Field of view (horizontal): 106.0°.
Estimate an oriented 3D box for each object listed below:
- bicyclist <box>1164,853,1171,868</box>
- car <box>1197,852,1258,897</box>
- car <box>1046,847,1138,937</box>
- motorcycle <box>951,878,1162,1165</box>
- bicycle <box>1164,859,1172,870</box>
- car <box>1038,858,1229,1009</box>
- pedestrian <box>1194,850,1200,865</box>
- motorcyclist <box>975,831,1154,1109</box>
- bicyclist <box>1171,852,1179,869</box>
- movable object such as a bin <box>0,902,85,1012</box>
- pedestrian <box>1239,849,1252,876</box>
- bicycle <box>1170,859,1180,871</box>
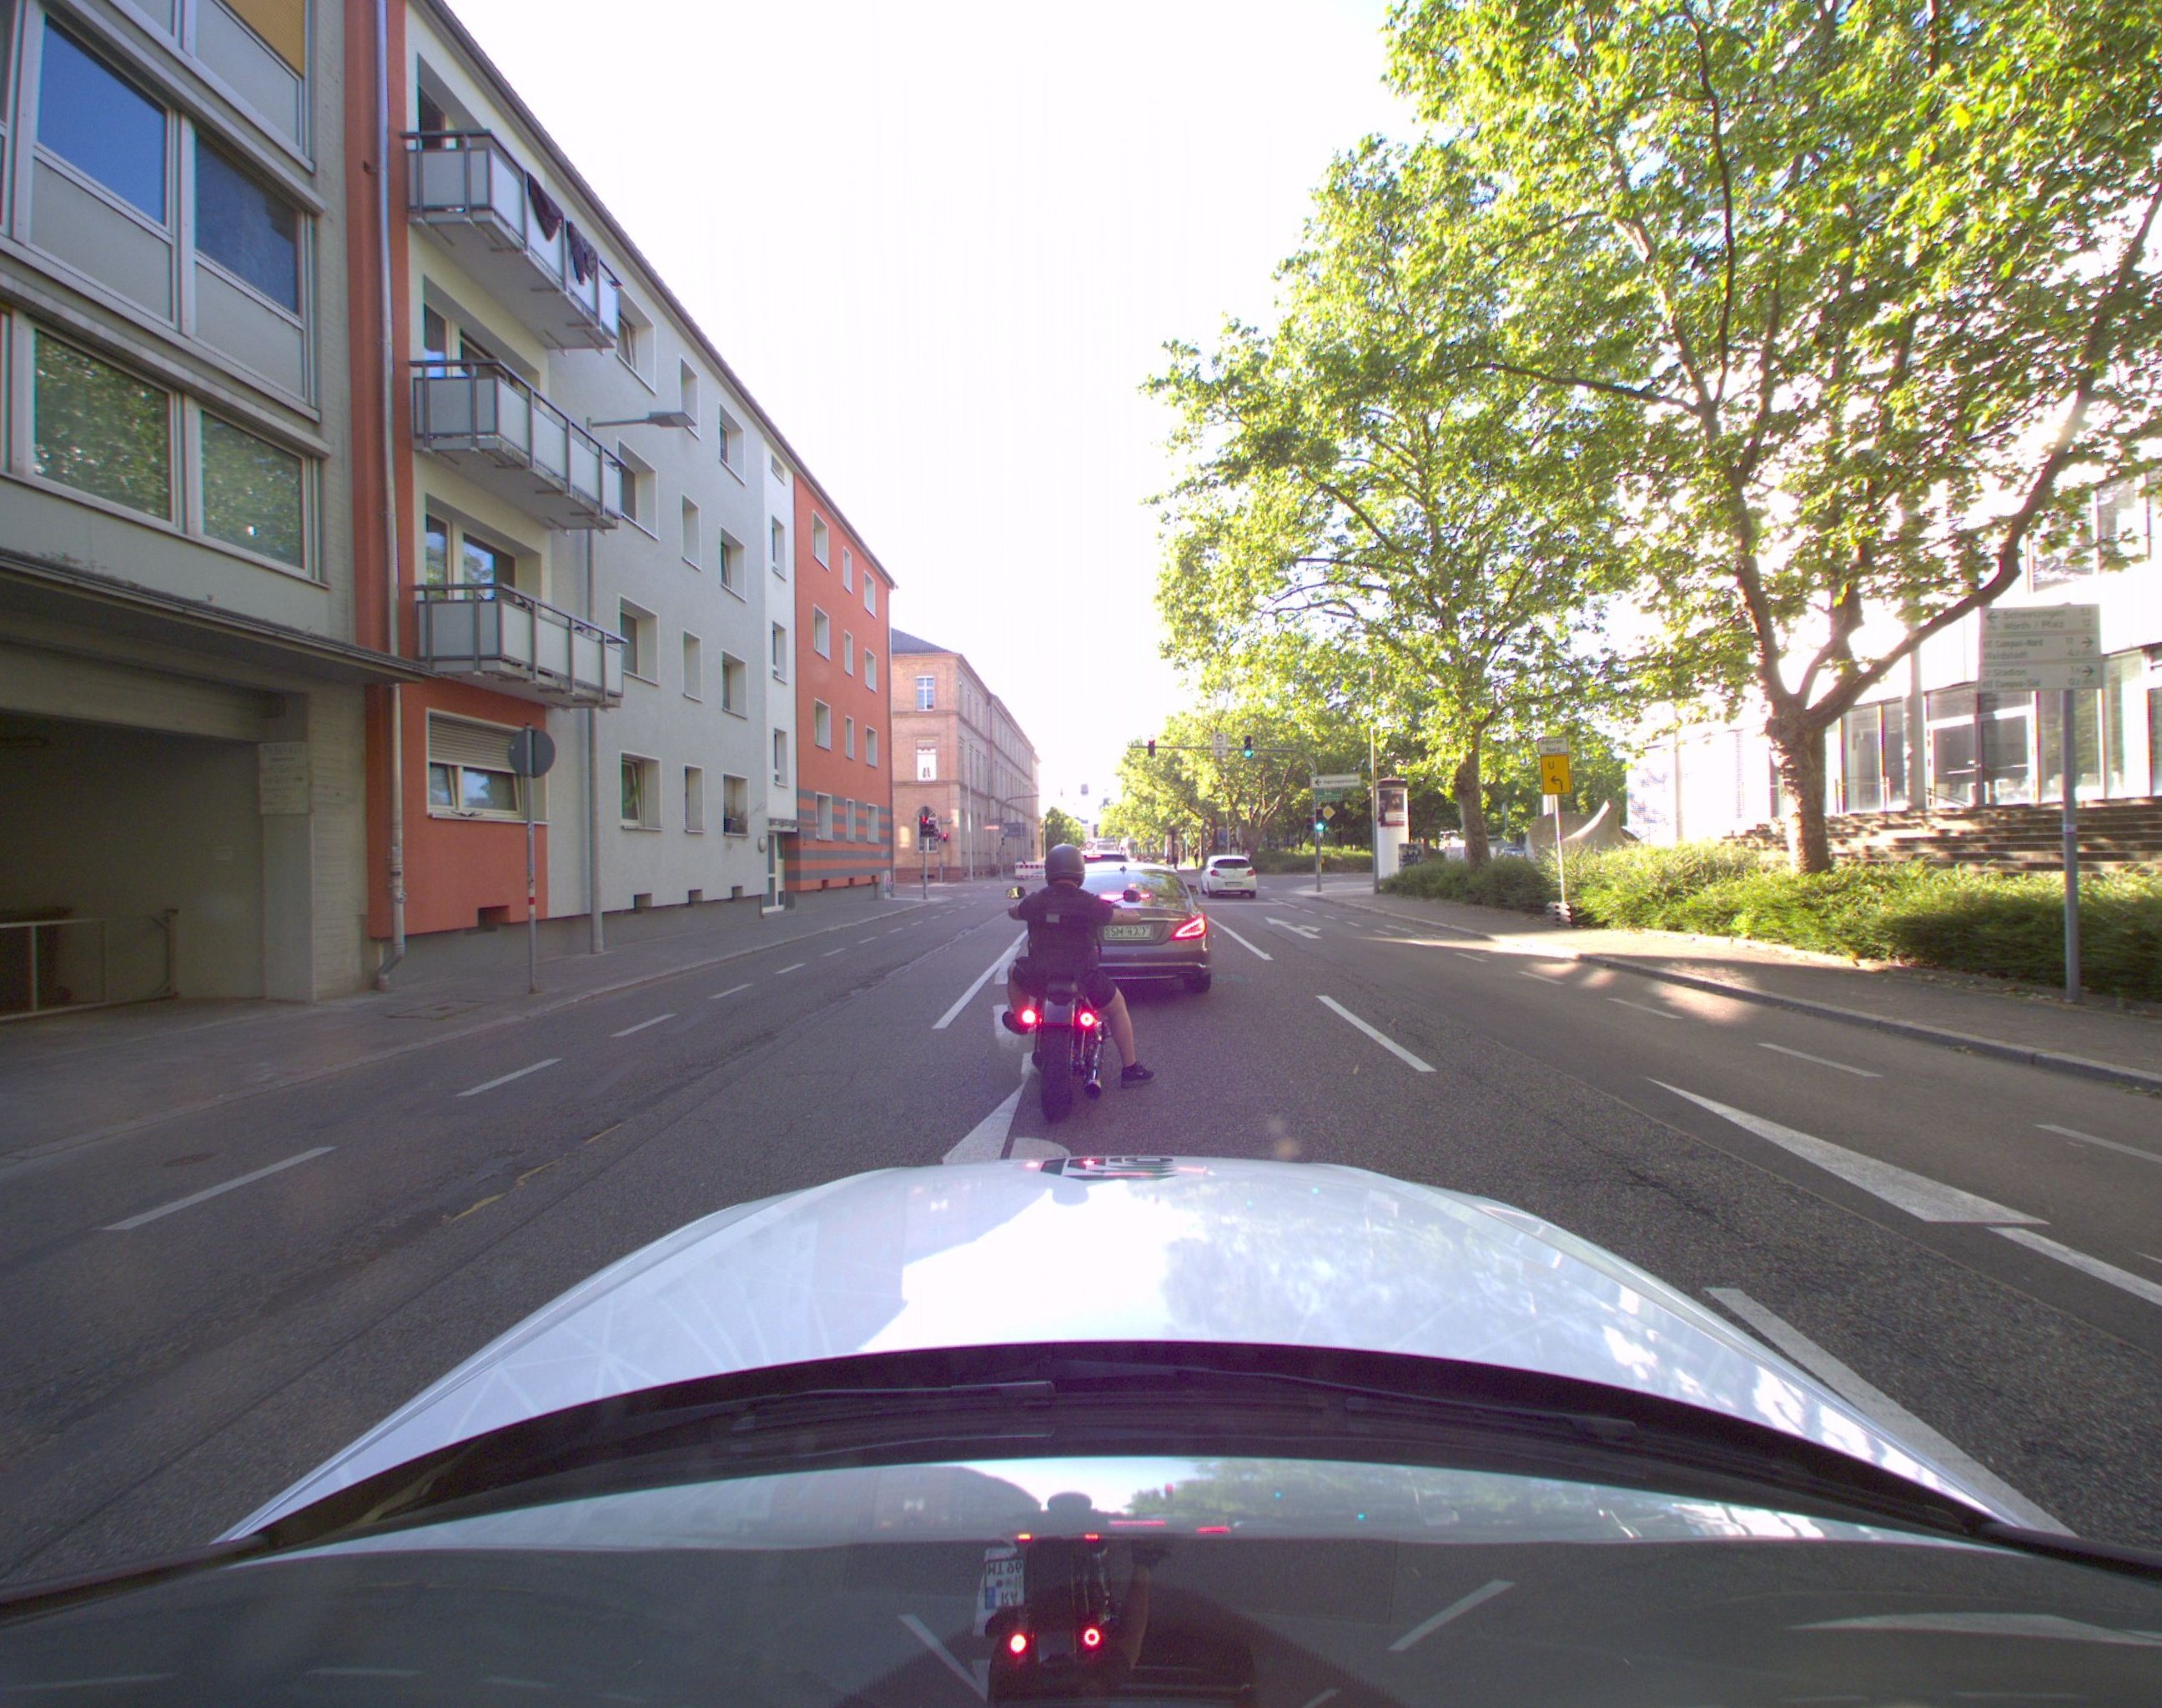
[{"bbox_3d":[8.854,0.702,83.226,0.653,1.530,0.906,0,-1,1],"label":"bicyclist"},{"bbox_3d":[5.145,0.687,28.951,1.672,1.498,3.687,0,0,2],"label":"car"},{"bbox_3d":[0.117,0.715,16.891,1.627,1.651,3.845,0,0,-4],"label":"car"},{"bbox_3d":[-0.080,0.864,5.339,1.008,1.306,2.673,-1,0,2],"label":"motorcycle"},{"bbox_3d":[8.860,1.056,83.250,0.653,1.111,2.186,0,-1,2],"label":"bicycle"},{"bbox_3d":[0.559,0.774,9.762,1.821,1.420,3.816,-1,0,2],"label":"car"},{"bbox_3d":[11.595,0.354,81.369,0.590,1.578,0.527,0,-1,2],"label":"pedestrian"},{"bbox_3d":[-0.078,0.677,5.453,1.008,1.602,1.406,-1,0,1],"label":"motorcyclist"},{"bbox_3d":[8.447,0.588,73.215,0.653,1.530,0.852,0,-1,1],"label":"bicyclist"},{"bbox_3d":[-11.228,1.076,8.644,0.487,1.088,0.654,-1,0,1],"label":"movable object such as a bin"},{"bbox_3d":[10.748,0.546,53.097,0.574,1.774,0.619,1,-1,-33],"label":"pedestrian"},{"bbox_3d":[8.451,0.981,73.181,0.653,1.070,1.927,0,-1,1],"label":"bicycle"}]
